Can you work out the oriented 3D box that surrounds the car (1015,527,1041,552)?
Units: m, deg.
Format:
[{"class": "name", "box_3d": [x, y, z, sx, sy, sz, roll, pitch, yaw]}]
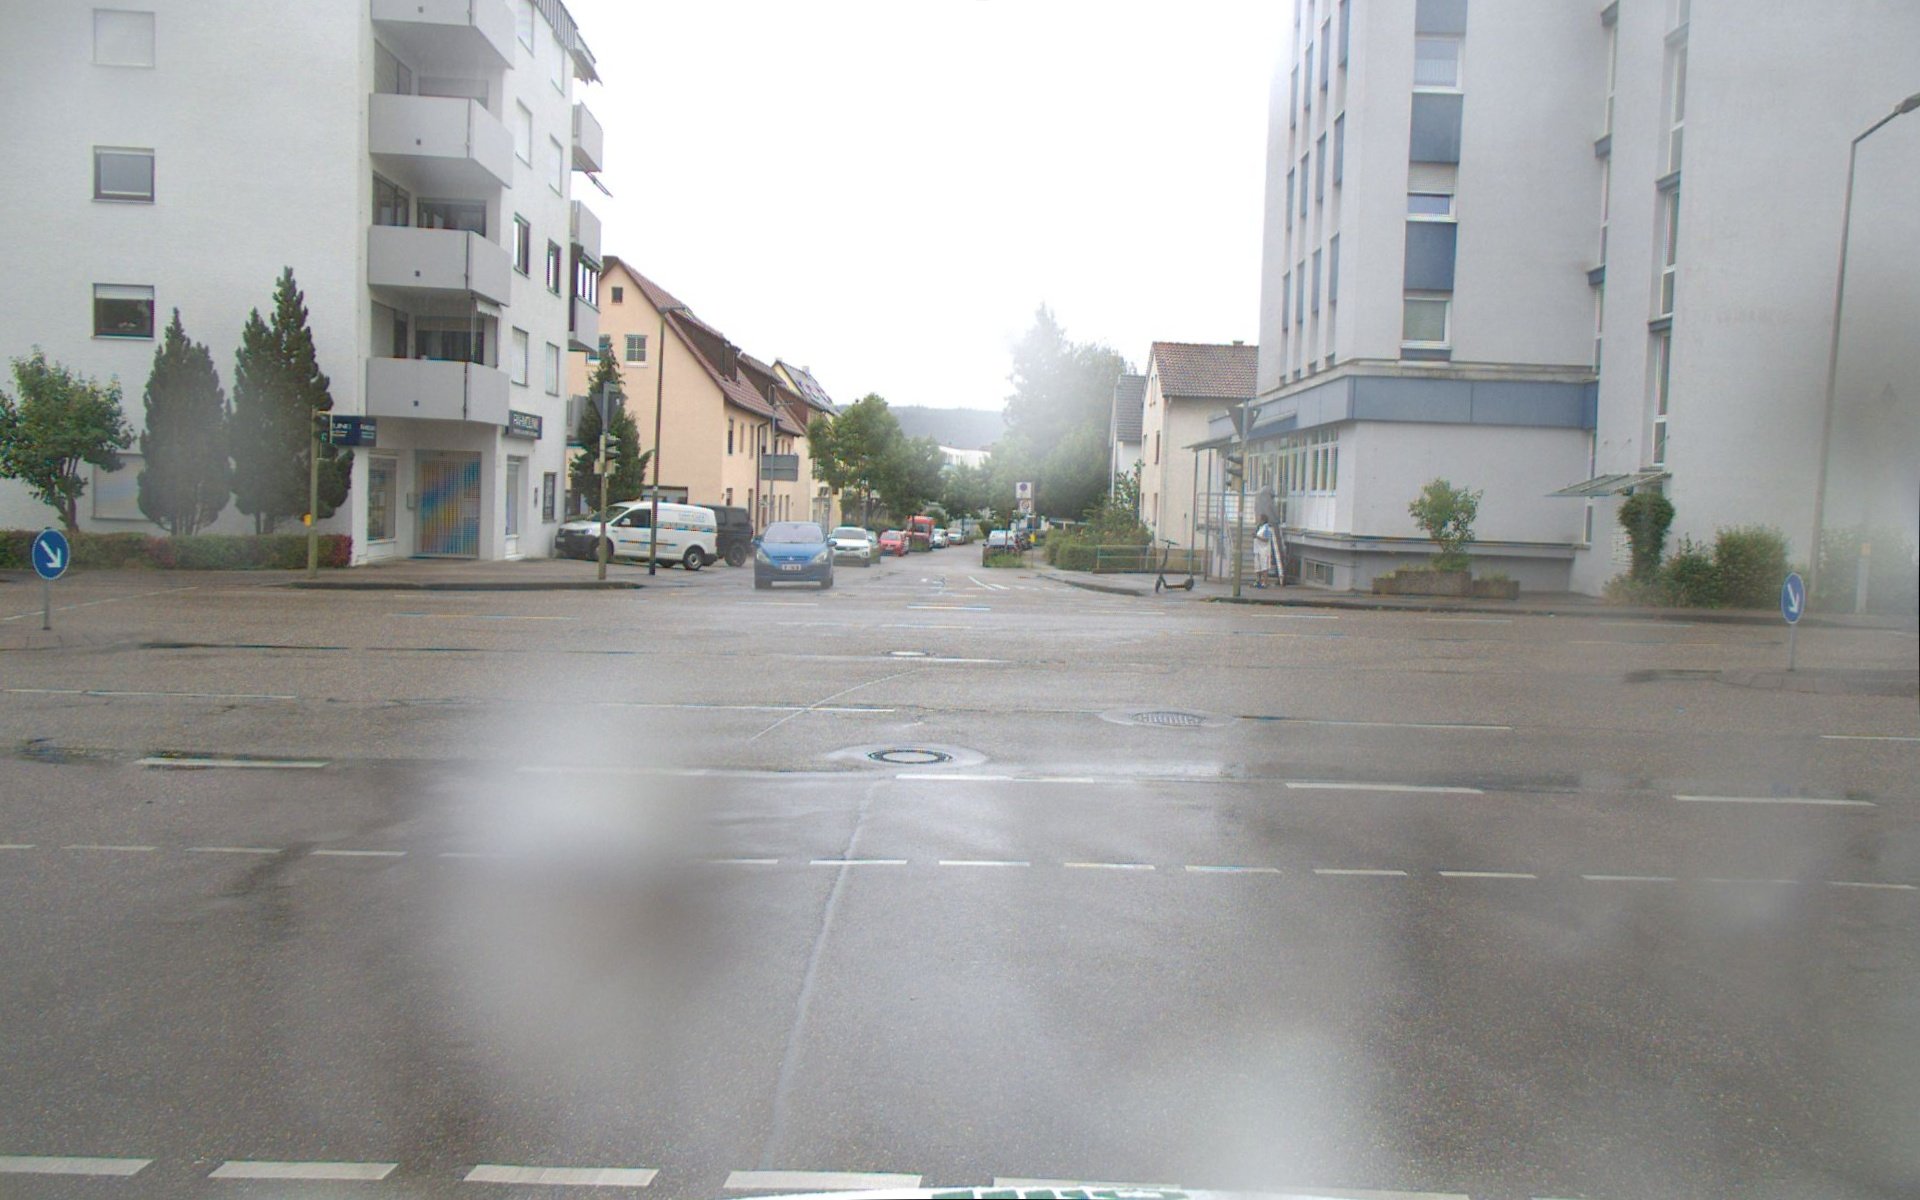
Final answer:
[{"class": "car", "box_3d": [5.671, -5.024, 137.920, 1.951, 2.048, 4.003, 1, 2, 4]}]

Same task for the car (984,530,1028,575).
[{"class": "car", "box_3d": [2.283, -2.297, 81.439, 1.951, 2.049, 4.002, 1, 0, 4]}]

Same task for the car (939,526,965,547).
[{"class": "car", "box_3d": [-0.706, -5.908, 154.657, 1.951, 1.736, 4.003, 1, 0, 6]}]

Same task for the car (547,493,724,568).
[{"class": "car", "box_3d": [-9.271, -1.953, 47.458, 4.684, 1.809, 1.748, 3, 0, -40]}]

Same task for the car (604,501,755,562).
[{"class": "car", "box_3d": [-9.187, -2.219, 54.409, 4.578, 1.921, 1.935, -1, 2, -40]}]

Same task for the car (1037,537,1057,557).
[{"class": "car", "box_3d": [9.009, -5.434, 170.643, 1.951, 2.048, 4.003, 1, 2, 4]}]

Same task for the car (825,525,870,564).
[{"class": "car", "box_3d": [-4.580, -2.272, 67.797, 1.732, 1.549, 3.999, 1, 2, -2]}]

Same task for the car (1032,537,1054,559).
[{"class": "car", "box_3d": [8.144, -5.090, 162.100, 1.951, 2.048, 4.003, 1, 2, 4]}]

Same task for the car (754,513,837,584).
[{"class": "car", "box_3d": [-3.734, -1.137, 38.061, 1.732, 1.471, 3.997, 1, 0, -3]}]

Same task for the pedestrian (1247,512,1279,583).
[{"class": "pedestrian", "box_3d": [7.269, -1.254, 39.722, 0.641, 1.680, 0.646, 1, -1, 0]}]

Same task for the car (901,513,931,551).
[{"class": "car", "box_3d": [-3.366, -5.231, 127.239, 2.171, 2.816, 5.725, 0, 2, -1]}]

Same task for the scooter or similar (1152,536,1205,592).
[{"class": "scooter or similar", "box_3d": [5.101, -0.833, 38.639, 1.039, 1.249, 0.800, 1, 0, -10]}]

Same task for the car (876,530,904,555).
[{"class": "car", "box_3d": [-4.422, -3.623, 104.007, 1.732, 1.545, 3.998, 0, 2, -3]}]

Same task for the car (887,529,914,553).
[{"class": "car", "box_3d": [-4.093, -4.017, 112.581, 1.732, 1.545, 3.998, 0, 2, -3]}]

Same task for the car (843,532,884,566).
[{"class": "car", "box_3d": [-4.576, -2.443, 79.093, 1.731, 1.545, 4.195, 1, 2, 0]}]

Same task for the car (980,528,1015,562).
[{"class": "car", "box_3d": [2.383, -3.423, 103.573, 1.951, 2.048, 4.003, 1, 2, 4]}]

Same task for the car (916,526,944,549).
[{"class": "car", "box_3d": [-2.512, -5.215, 138.784, 1.951, 1.713, 4.002, 1, 0, 4]}]
